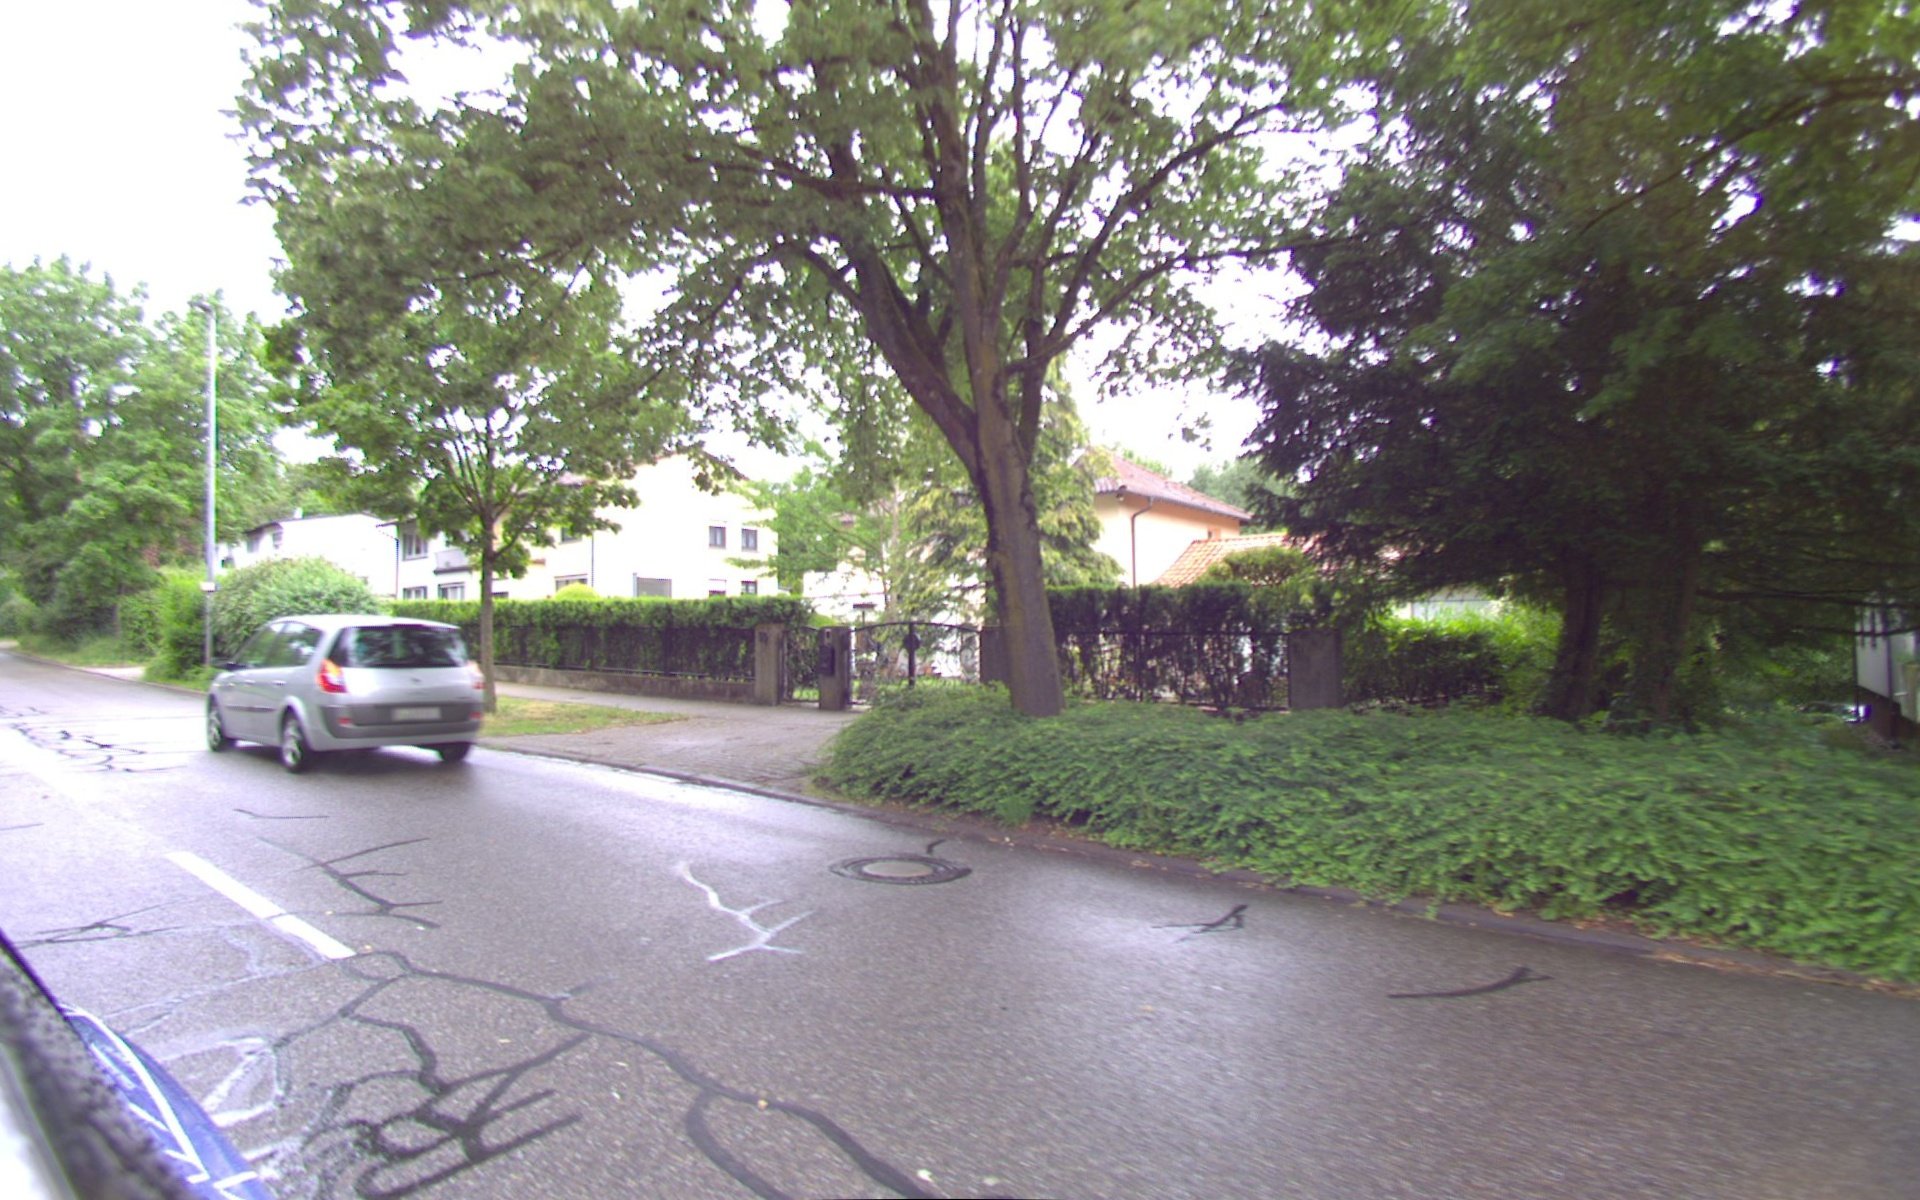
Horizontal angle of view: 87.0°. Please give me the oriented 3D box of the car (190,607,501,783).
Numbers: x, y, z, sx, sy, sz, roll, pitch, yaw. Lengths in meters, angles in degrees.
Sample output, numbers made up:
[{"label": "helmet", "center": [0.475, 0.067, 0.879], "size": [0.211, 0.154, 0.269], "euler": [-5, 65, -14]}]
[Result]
[{"label": "car", "center": [-7.022, 0.964, 11.408], "size": [4.138, 1.626, 1.745], "euler": [-2, -4, 40]}]
